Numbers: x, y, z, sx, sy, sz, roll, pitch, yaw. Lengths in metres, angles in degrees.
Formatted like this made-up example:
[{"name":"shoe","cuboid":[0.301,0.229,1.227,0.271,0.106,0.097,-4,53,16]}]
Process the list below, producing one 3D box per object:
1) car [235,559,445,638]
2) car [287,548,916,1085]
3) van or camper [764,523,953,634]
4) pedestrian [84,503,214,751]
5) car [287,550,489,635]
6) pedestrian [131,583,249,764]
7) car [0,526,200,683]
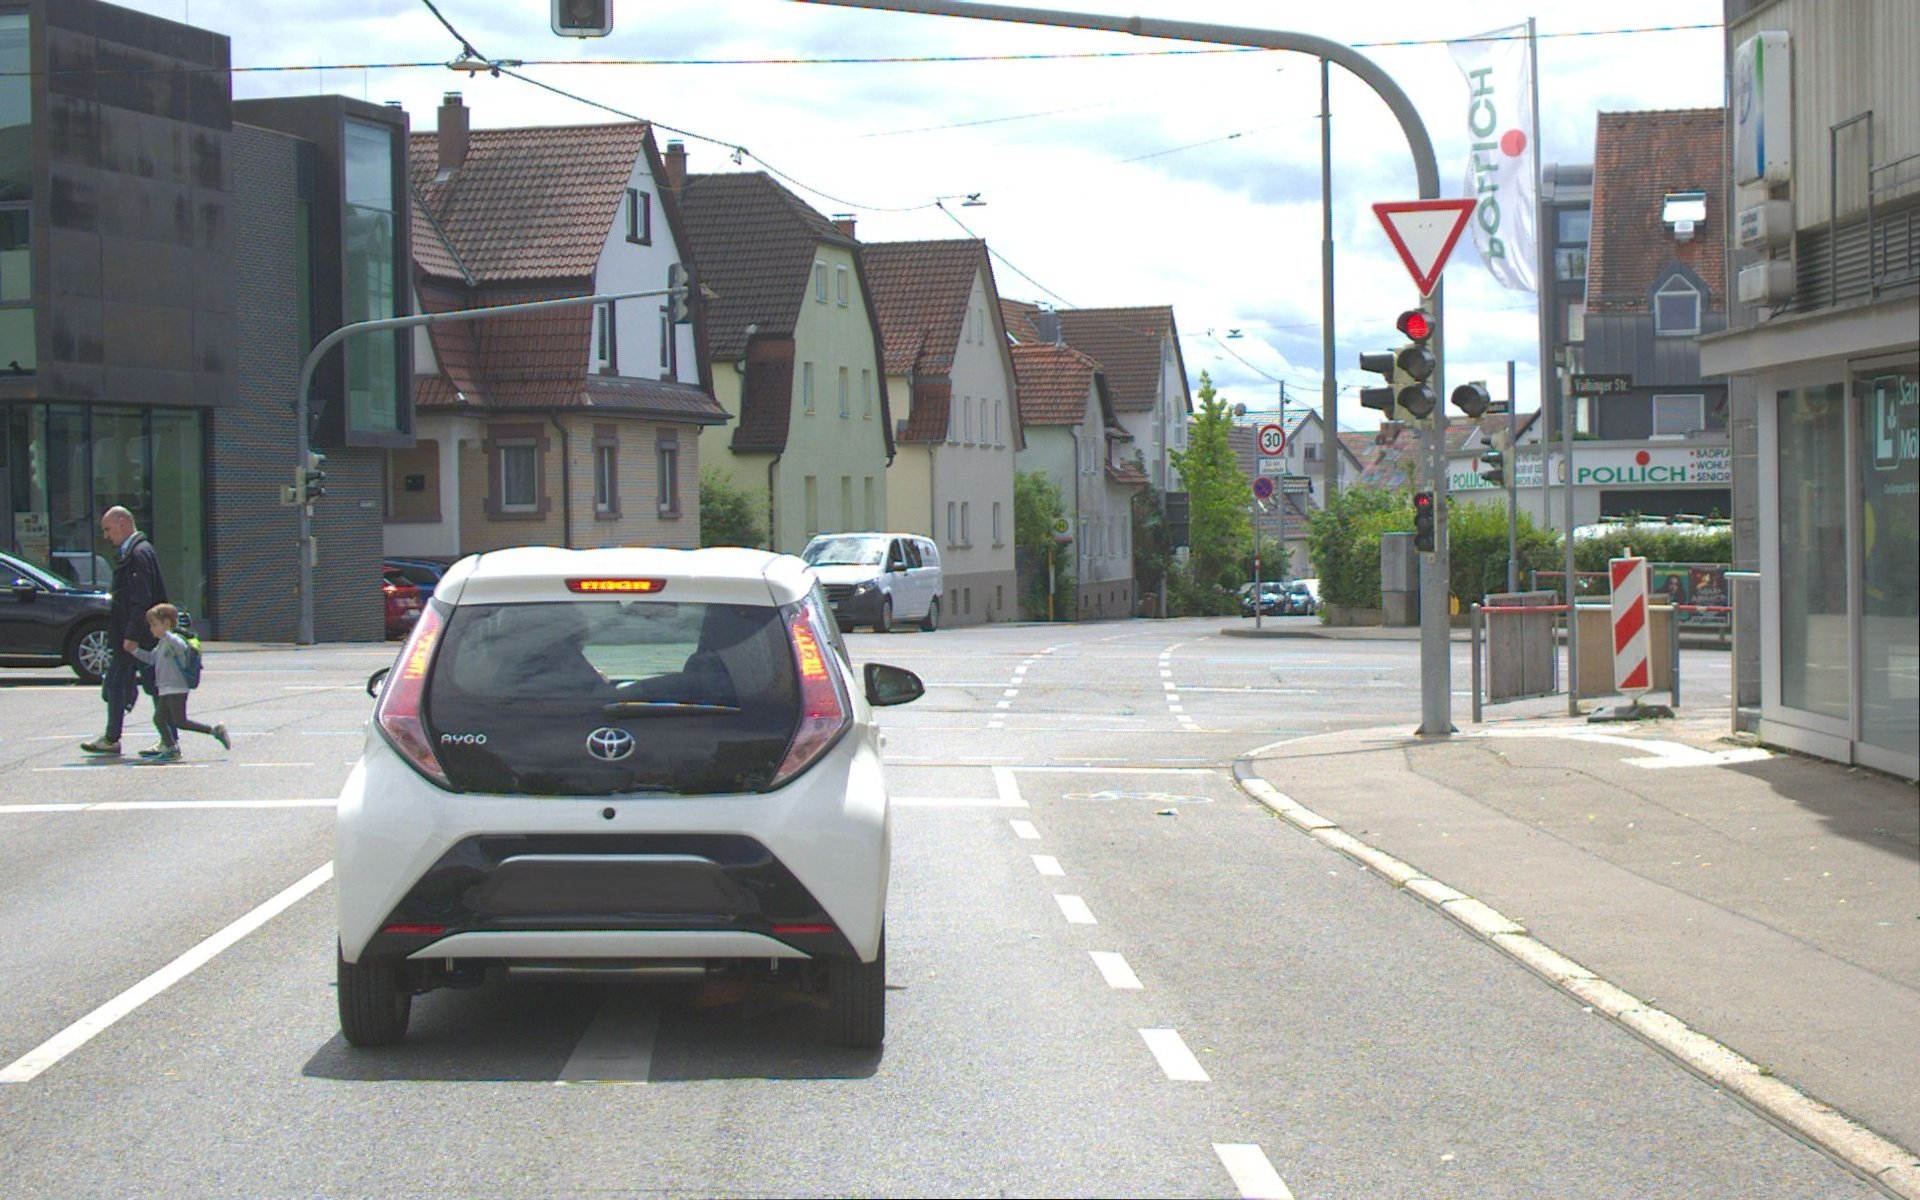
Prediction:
[{"name":"car","cuboid":[-11.944,-0.039,66.318,3.616,1.414,1.691,1,1,11]},{"name":"car","cuboid":[-1.067,0.573,11.083,1.697,1.451,3.299,1,1,-3]},{"name":"van or camper","cuboid":[-1.806,-0.416,63.375,2.117,1.919,5.282,1,1,14]},{"name":"pedestrian","cuboid":[-5.741,0.178,24.314,0.822,1.715,0.818,0,1,-18]},{"name":"car","cuboid":[-11.455,-0.160,68.938,3.616,1.600,1.691,1,1,11]},{"name":"pedestrian","cuboid":[-5.327,0.498,23.775,0.733,1.217,0.646,0,1,-17]},{"name":"car","cuboid":[-10.434,0.017,35.554,4.895,1.572,2.001,1,1,-9]}]
